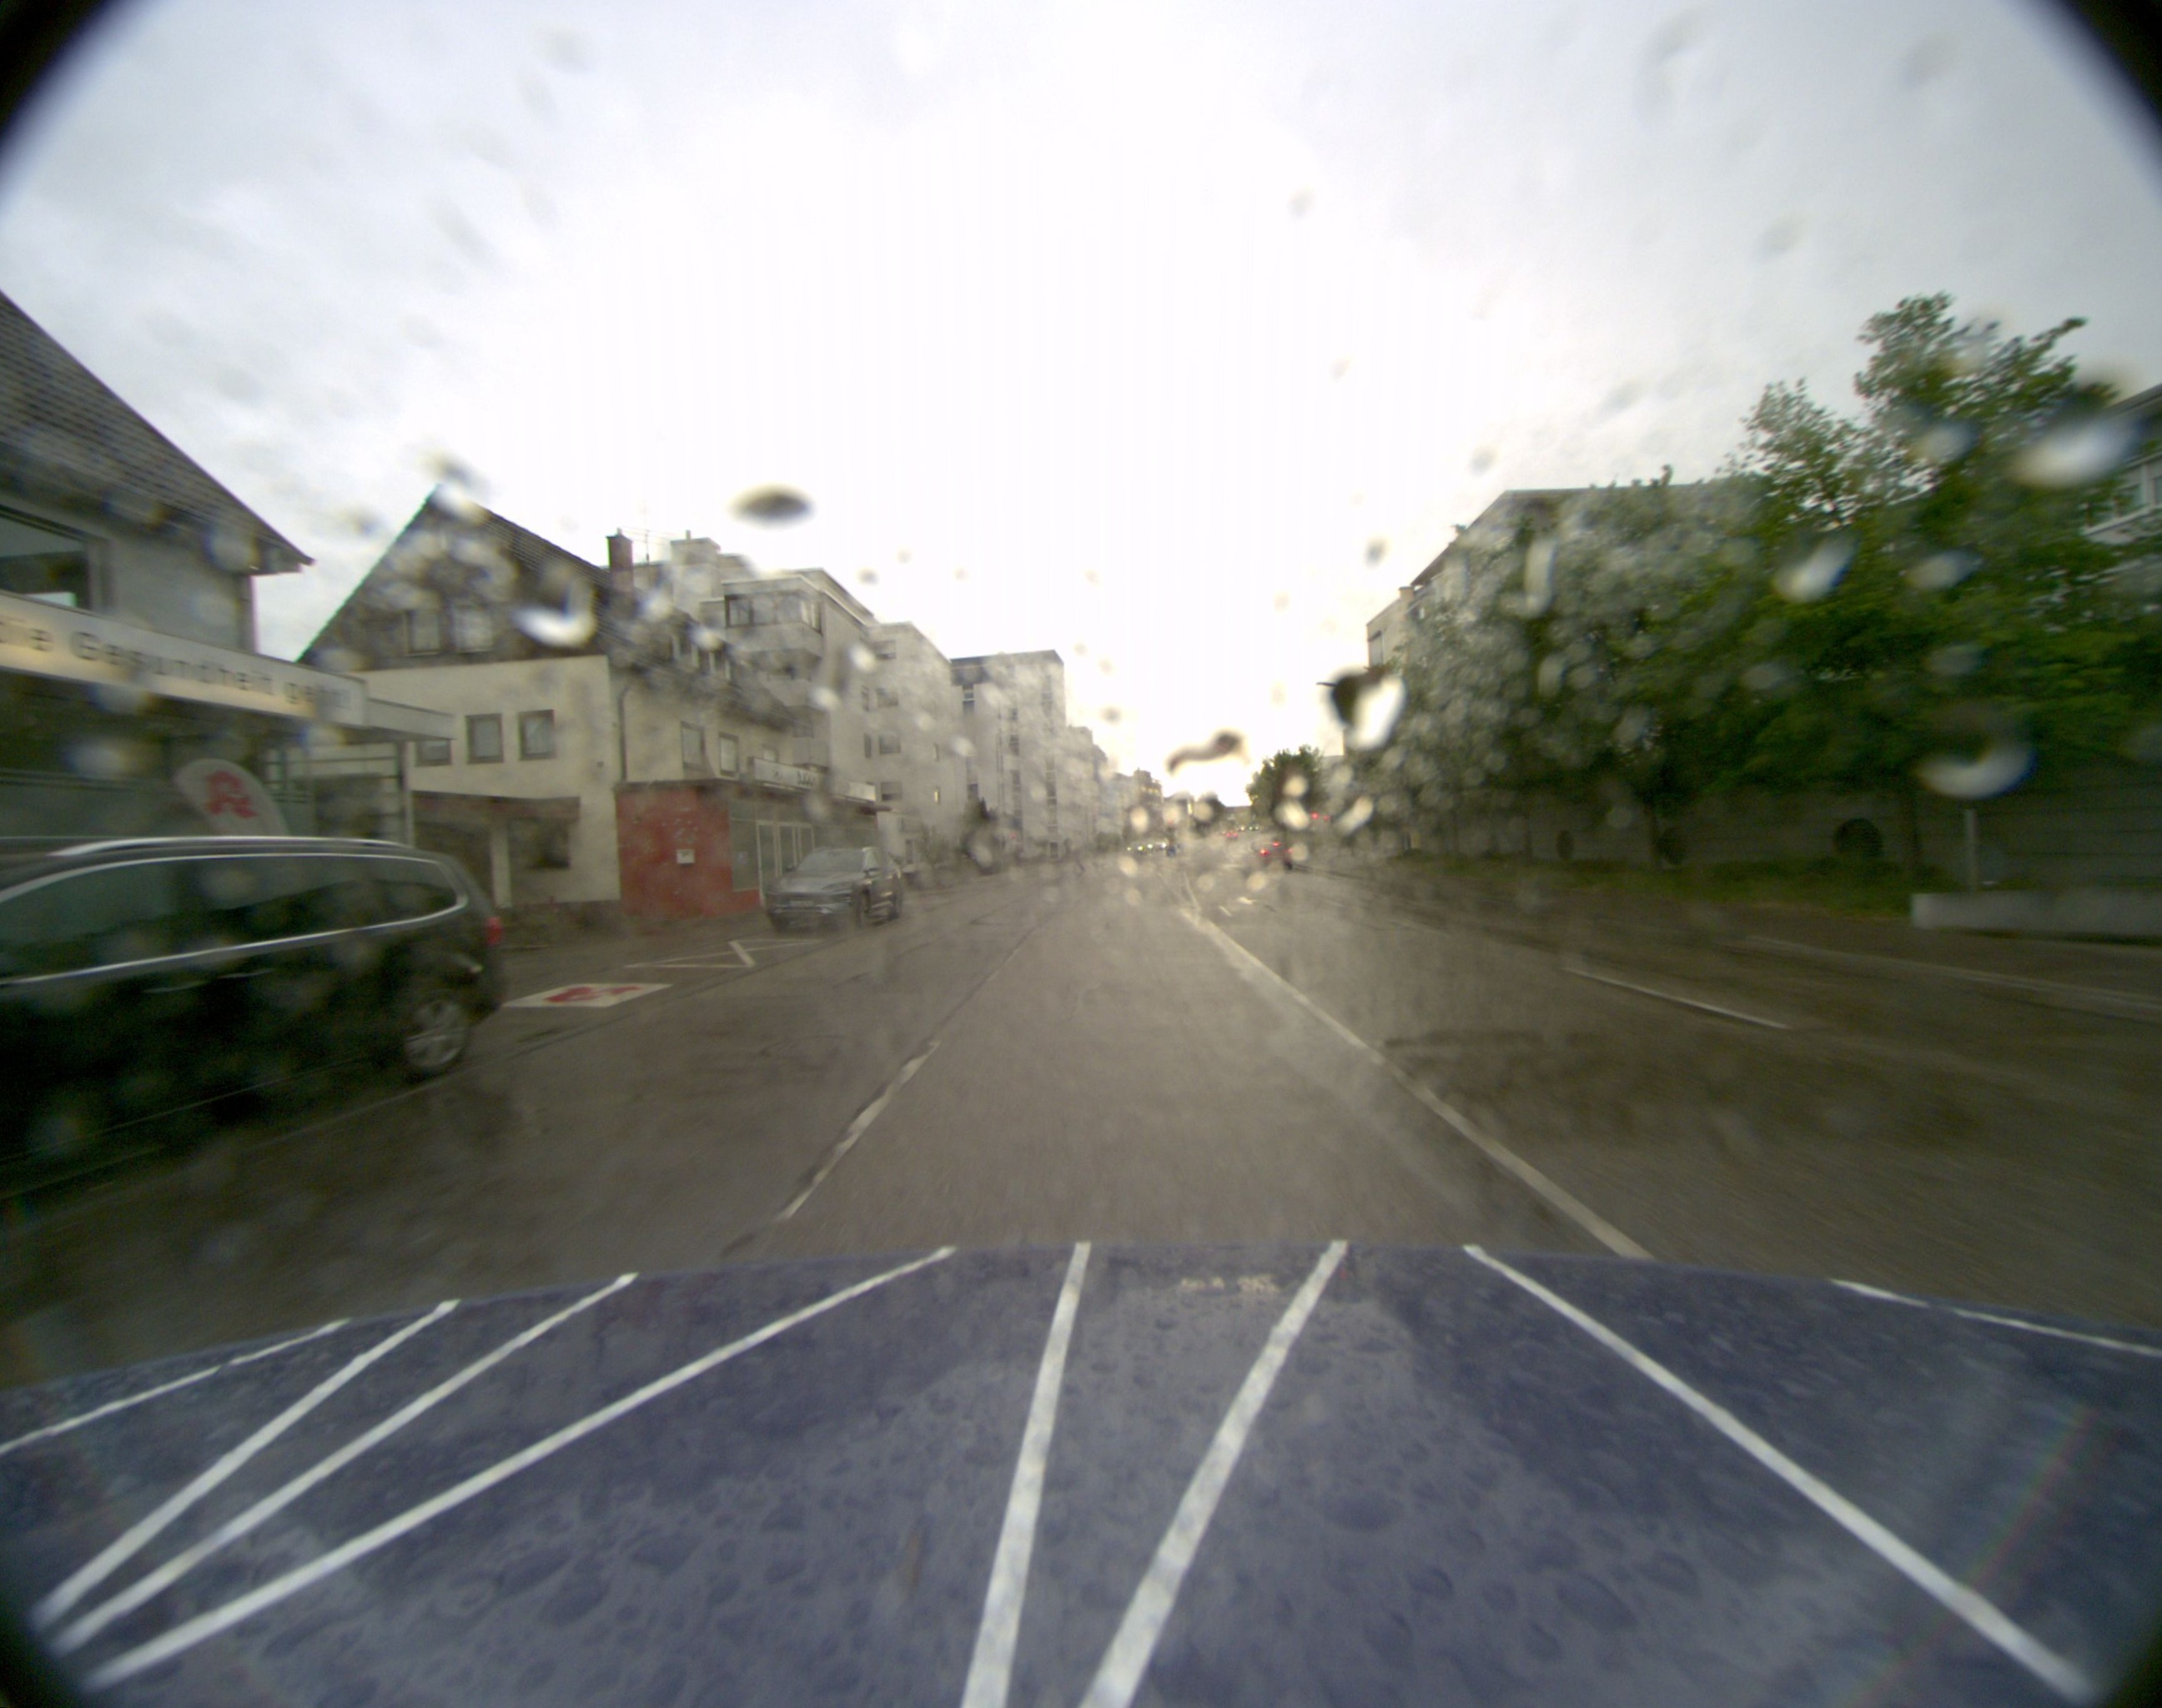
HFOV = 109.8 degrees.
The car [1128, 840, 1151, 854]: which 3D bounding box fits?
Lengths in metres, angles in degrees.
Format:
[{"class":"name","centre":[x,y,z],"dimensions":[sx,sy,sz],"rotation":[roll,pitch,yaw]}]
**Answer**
[{"class":"car","centre":[6.775,-0.844,87.385],"dimensions":[1.739,1.477,4.153],"rotation":[-2,1,16]}]

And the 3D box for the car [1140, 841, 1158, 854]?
[{"class":"car","centre":[8.570,-0.825,95.575],"dimensions":[1.752,1.470,4.002],"rotation":[-3,1,12]}]

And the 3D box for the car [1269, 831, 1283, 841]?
[{"class":"car","centre":[32.284,-2.968,125.877],"dimensions":[1.734,1.470,4.026],"rotation":[-3,1,22]}]

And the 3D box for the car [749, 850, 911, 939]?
[{"class":"car","centre":[-5.347,0.768,16.956],"dimensions":[1.879,1.633,4.792],"rotation":[0,1,2]}]

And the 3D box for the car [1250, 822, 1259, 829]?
[{"class":"car","centre":[44.565,-7.175,194.742],"dimensions":[1.827,1.677,4.004],"rotation":[-2,1,17]}]

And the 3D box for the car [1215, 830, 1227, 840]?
[{"class":"car","centre":[31.274,-4.331,169.615],"dimensions":[1.996,2.002,4.003],"rotation":[-6,1,17]}]

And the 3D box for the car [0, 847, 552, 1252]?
[{"class":"car","centre":[-5.595,0.843,3.919],"dimensions":[2.040,1.685,4.963],"rotation":[0,1,3]}]

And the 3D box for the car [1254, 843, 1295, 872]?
[{"class":"car","centre":[10.733,0.130,42.372],"dimensions":[1.778,1.498,4.105],"rotation":[0,1,8]}]

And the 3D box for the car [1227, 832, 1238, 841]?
[{"class":"car","centre":[28.262,-3.332,141.969],"dimensions":[1.691,1.546,3.909],"rotation":[-4,2,14]}]

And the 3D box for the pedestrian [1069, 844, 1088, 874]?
[{"class":"pedestrian","centre":[-0.145,0.308,44.948],"dimensions":[0.667,1.692,0.948],"rotation":[-3,2,25]}]

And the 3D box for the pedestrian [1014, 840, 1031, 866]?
[{"class":"pedestrian","centre":[-3.701,-0.082,48.284],"dimensions":[0.754,1.559,0.993],"rotation":[-4,2,6]}]

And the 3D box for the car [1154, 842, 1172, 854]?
[{"class":"car","centre":[11.402,-0.878,106.049],"dimensions":[1.896,1.536,4.024],"rotation":[-3,1,14]}]
